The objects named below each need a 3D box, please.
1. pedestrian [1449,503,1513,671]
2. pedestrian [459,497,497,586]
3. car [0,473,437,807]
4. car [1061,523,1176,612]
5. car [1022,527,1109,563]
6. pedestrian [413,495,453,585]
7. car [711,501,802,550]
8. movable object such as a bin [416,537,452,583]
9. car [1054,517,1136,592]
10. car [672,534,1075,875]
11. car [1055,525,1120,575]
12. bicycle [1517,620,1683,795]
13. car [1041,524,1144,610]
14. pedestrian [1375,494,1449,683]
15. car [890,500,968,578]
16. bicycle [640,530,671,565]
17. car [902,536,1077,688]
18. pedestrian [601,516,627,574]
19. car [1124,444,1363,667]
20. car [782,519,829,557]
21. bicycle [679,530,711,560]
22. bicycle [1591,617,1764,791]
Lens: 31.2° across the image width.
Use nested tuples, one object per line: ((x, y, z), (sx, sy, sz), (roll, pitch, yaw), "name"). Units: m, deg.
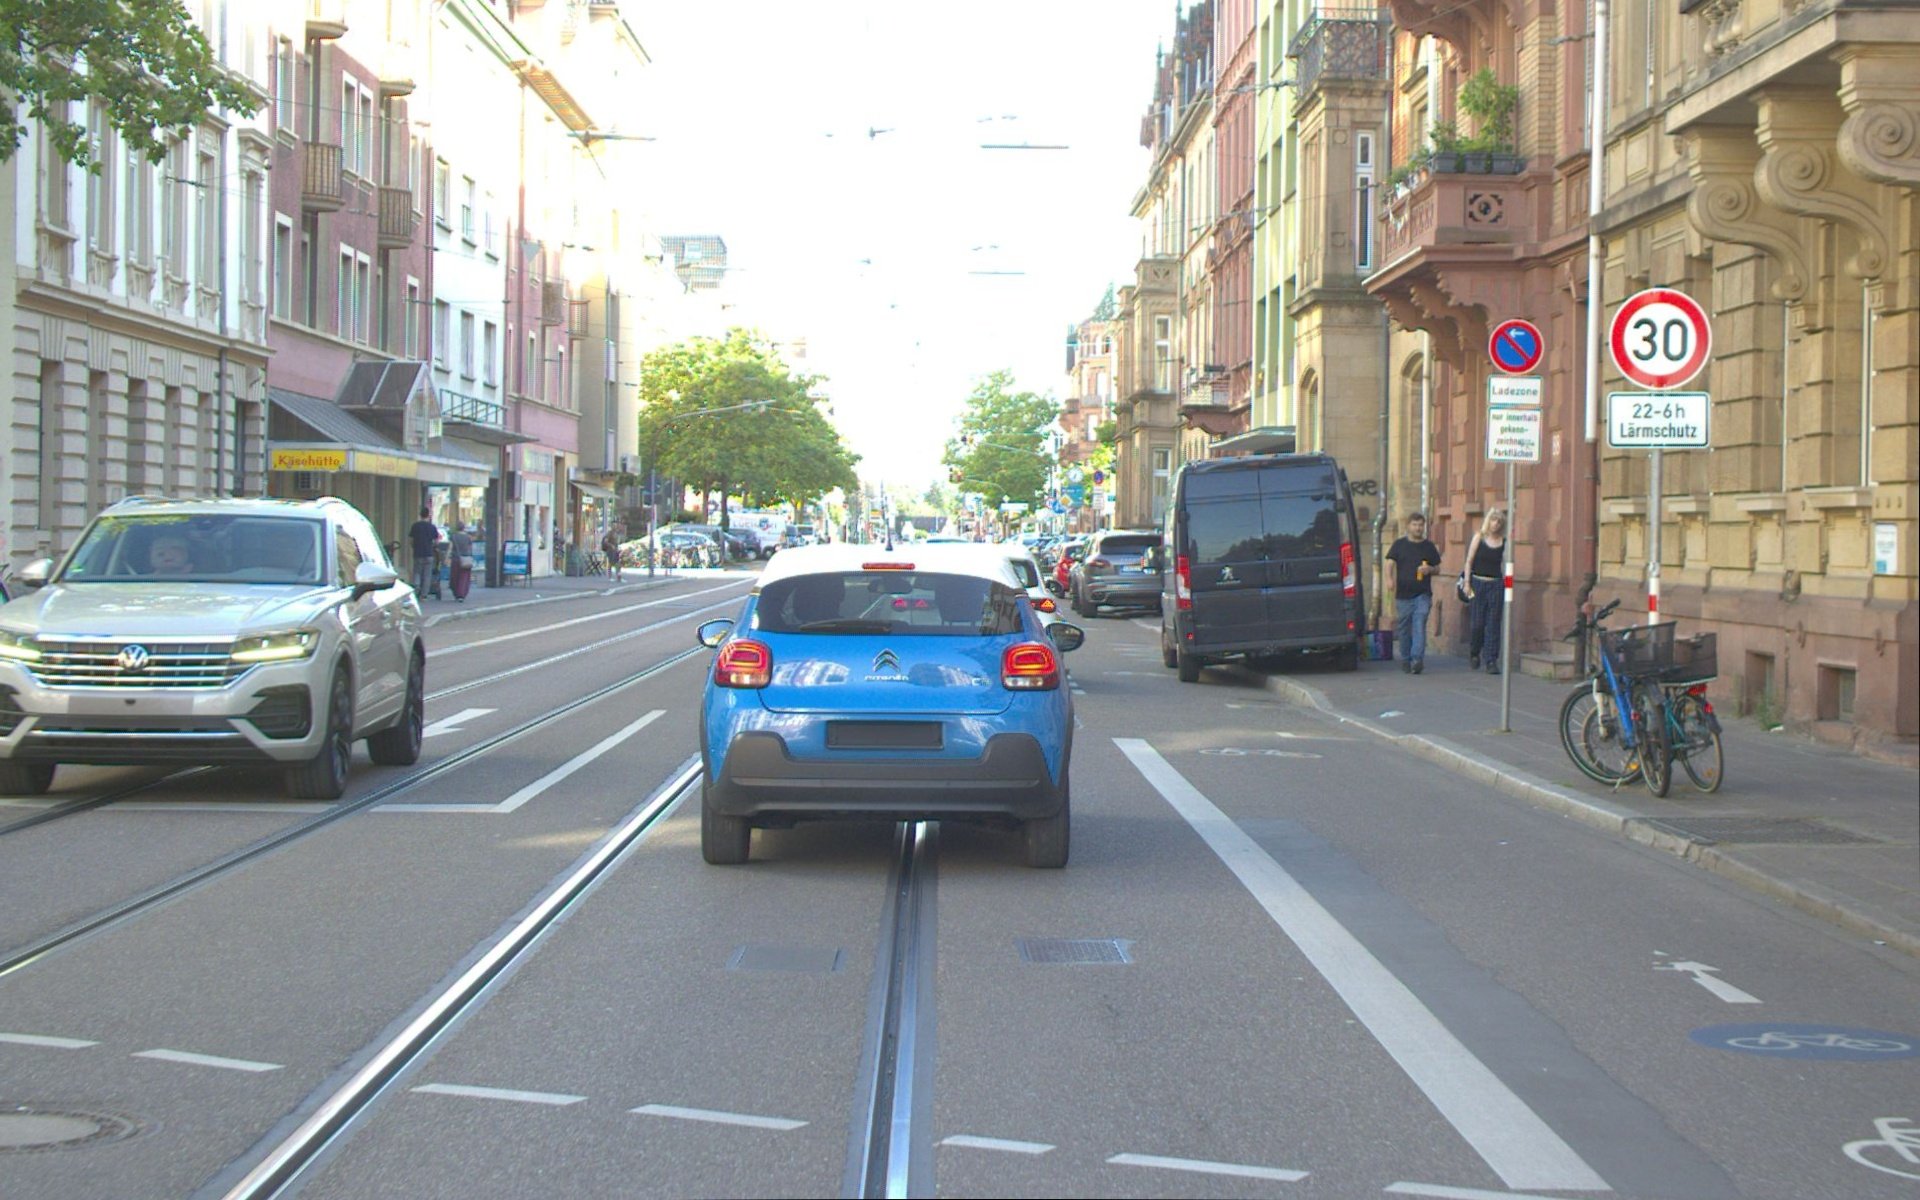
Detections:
((5.600, -0.144, 36.988), (0.553, 1.776, 0.606), (1, 1, -2), "pedestrian")
((-9.543, -1.157, 68.061), (0.710, 1.758, 0.655), (0, 1, -8), "pedestrian")
((-4.404, 0.165, 20.418), (1.993, 1.738, 4.563), (1, 1, -2), "car")
((3.092, -0.673, 68.013), (2.005, 1.667, 4.806), (1, 1, -1), "car")
((4.824, -2.545, 157.726), (3.835, 1.612, 1.792), (1, 1, -3), "car")
((-10.422, -1.185, 67.983), (0.710, 1.758, 0.570), (1, 1, -1), "pedestrian")
((-10.741, -3.929, 181.427), (4.307, 2.572, 2.210), (-1, 1, -26), "car")
((-10.516, -0.803, 68.705), (0.610, 0.911, 0.695), (1, 1, 0), "movable object such as a bin")
((3.588, -1.254, 92.222), (2.005, 1.666, 4.392), (0, 5, 0), "car")
((-0.541, 0.425, 17.073), (1.673, 1.472, 4.001), (1, 1, -6), "car")
((4.301, -1.724, 116.866), (2.005, 1.667, 4.391), (0, 1, 0), "car")
((3.787, 0.617, 20.462), (0.431, 0.944, 1.764), (1, 1, -8), "bicycle")
((2.767, -0.725, 72.598), (1.905, 1.751, 4.000), (1, 1, -1), "car")
((4.925, -0.134, 37.506), (0.585, 2.006, 0.823), (3, 2, -1), "pedestrian")
((-0.841, -1.613, 91.242), (1.993, 2.007, 4.000), (0, 1, -1), "car")
((-11.751, -2.026, 132.459), (1.120, 1.315, 3.645), (0, 1, -6), "bicycle")
((0.260, 0.084, 35.837), (1.667, 1.473, 4.000), (1, 1, -1), "car")
((-9.870, -1.566, 98.089), (0.685, 1.633, 0.675), (1, 1, -1), "pedestrian")
((3.265, -0.547, 40.833), (2.271, 2.428, 5.720), (1, 1, -1), "car")
((-6.902, -2.769, 154.016), (1.993, 1.645, 4.000), (1, 1, -1), "car")
((-10.235, -2.128, 132.702), (1.120, 1.142, 3.645), (0, 1, -6), "bicycle")
((4.258, 0.597, 20.509), (0.431, 0.944, 1.764), (1, 1, -8), "bicycle")
